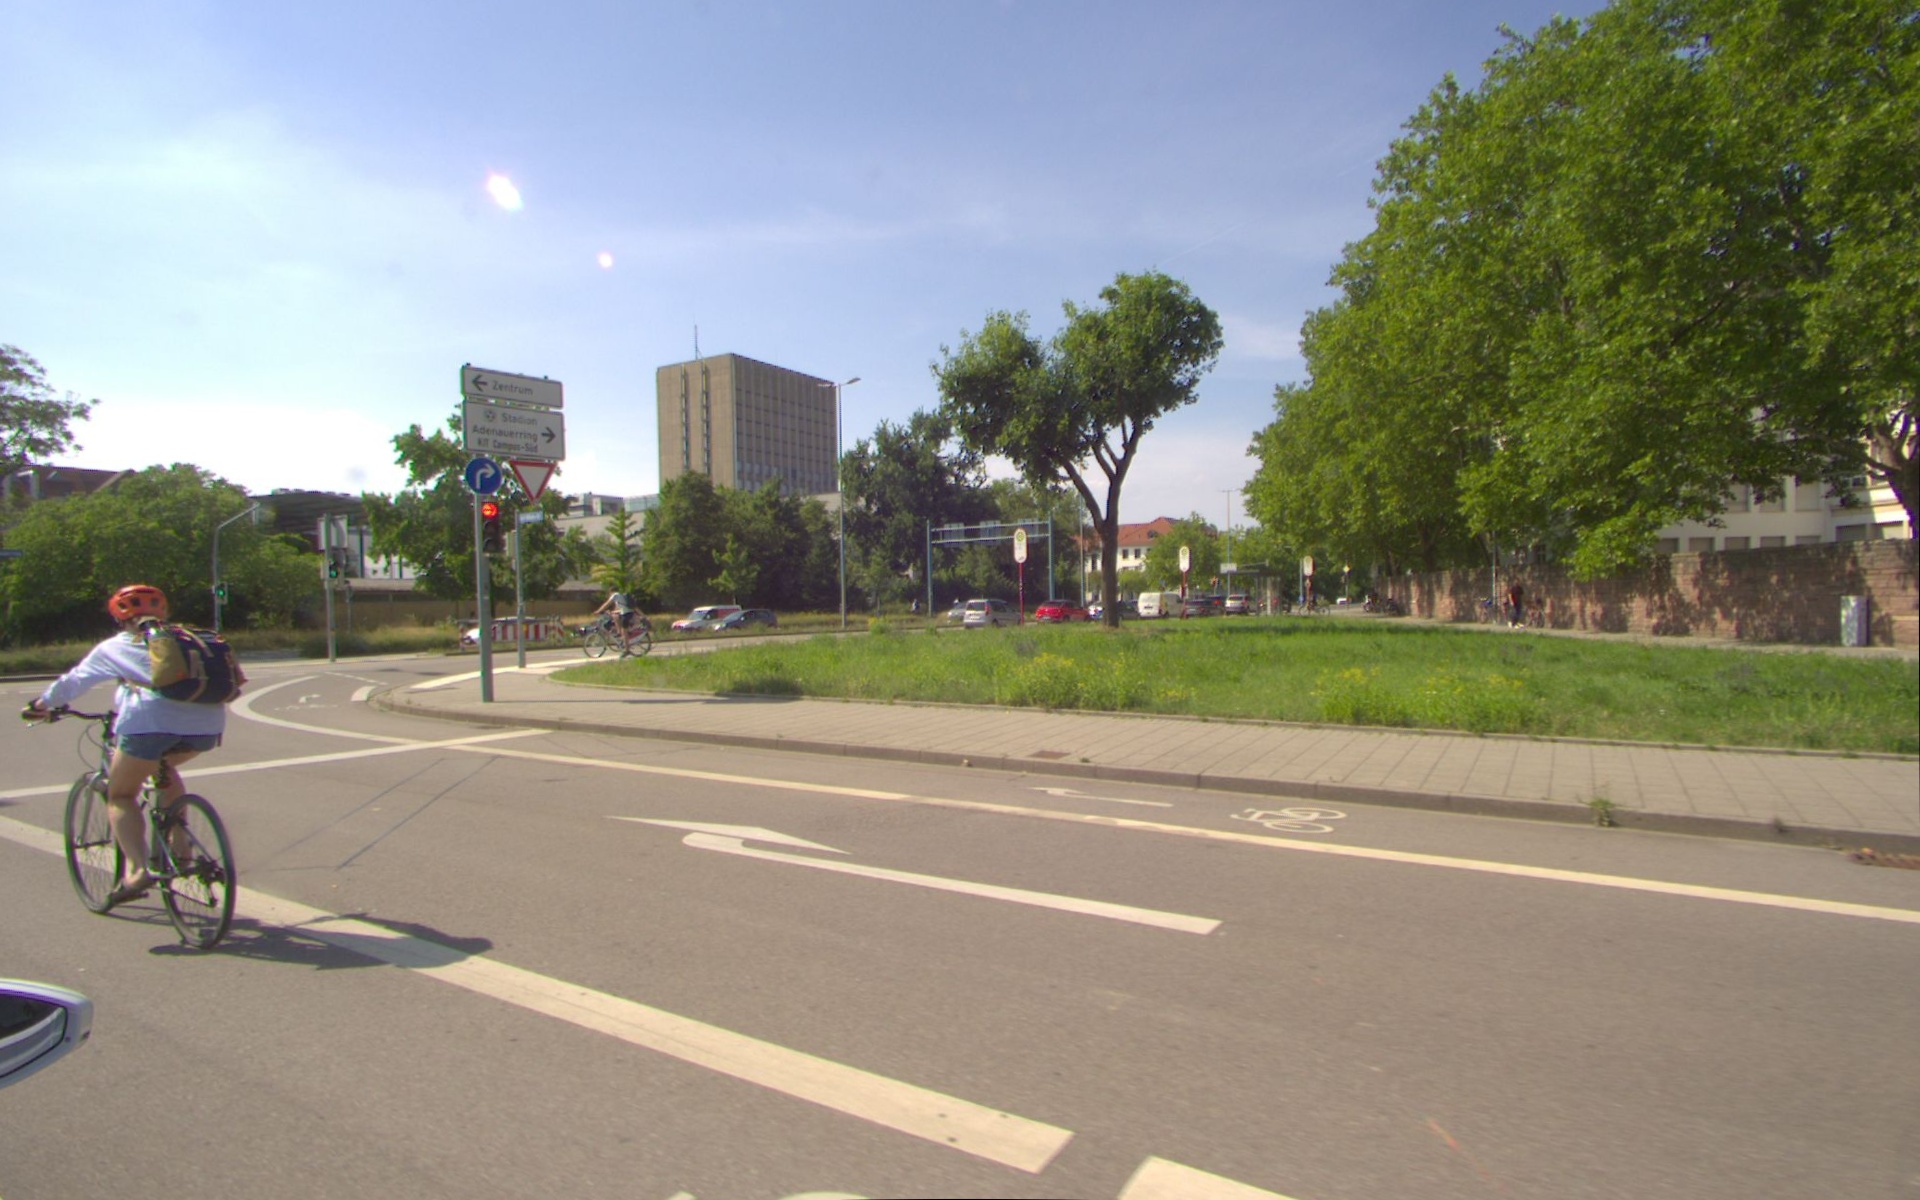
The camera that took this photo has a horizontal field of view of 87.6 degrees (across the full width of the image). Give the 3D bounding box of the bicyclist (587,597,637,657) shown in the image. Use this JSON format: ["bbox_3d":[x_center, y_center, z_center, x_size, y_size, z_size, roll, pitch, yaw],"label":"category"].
[{"bbox_3d":[-8.734,0.671,25.133,1.121,1.489,0.496,0,-1,-10],"label":"bicyclist"}]

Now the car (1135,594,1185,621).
[{"bbox_3d":[13.639,0.487,68.110,1.729,1.781,4.403,0,1,36],"label":"car"}]

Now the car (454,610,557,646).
[{"bbox_3d":[-21.219,1.291,46.896,1.972,1.483,3.978,-2,0,32],"label":"car"}]

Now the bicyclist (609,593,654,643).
[{"bbox_3d":[-10.097,0.551,30.809,0.558,1.494,1.158,0,2,44],"label":"bicyclist"}]

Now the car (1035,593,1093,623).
[{"bbox_3d":[5.922,0.468,56.689,1.727,1.527,3.981,0,-2,32],"label":"car"}]

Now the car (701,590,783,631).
[{"bbox_3d":[-11.717,0.563,54.008,1.976,2.040,3.971,-3,-1,37],"label":"car"}]

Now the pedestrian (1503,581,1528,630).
[{"bbox_3d":[20.271,0.193,36.534,0.608,1.763,0.599,-1,1,3],"label":"pedestrian"}]

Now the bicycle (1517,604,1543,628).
[{"bbox_3d":[20.961,0.580,36.835,0.365,0.867,1.307,-1,1,7],"label":"bicycle"}]

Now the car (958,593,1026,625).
[{"bbox_3d":[1.666,0.457,51.177,1.727,1.528,3.978,0,1,32],"label":"car"}]

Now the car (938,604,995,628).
[{"bbox_3d":[0.466,1.036,66.319,1.618,1.425,4.080,-3,-1,37],"label":"car"}]

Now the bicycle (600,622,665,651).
[{"bbox_3d":[-10.076,1.101,30.840,0.554,0.803,1.878,2,2,44],"label":"bicycle"}]

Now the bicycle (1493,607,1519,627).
[{"bbox_3d":[20.964,0.653,38.467,0.334,0.738,1.364,-1,1,5],"label":"bicycle"}]

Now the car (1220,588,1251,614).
[{"bbox_3d":[22.420,0.073,81.413,1.966,2.041,3.989,-1,1,21],"label":"car"}]

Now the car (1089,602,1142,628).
[{"bbox_3d":[9.774,0.911,62.736,1.729,1.494,3.973,0,1,36],"label":"car"}]

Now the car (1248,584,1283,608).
[{"bbox_3d":[27.108,-0.369,88.779,1.972,2.041,3.976,-1,1,34],"label":"car"}]

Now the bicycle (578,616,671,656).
[{"bbox_3d":[-8.444,0.905,25.247,2.128,0.928,0.674,-1,1,-11],"label":"bicycle"}]

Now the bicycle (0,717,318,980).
[{"bbox_3d":[-3.945,1.093,4.797,1.998,0.943,0.595,-2,-1,29],"label":"bicycle"}]

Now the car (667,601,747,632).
[{"bbox_3d":[-14.325,0.912,56.816,1.882,1.590,4.301,0,1,32],"label":"car"}]

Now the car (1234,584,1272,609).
[{"bbox_3d":[25.118,-0.318,85.772,1.972,2.041,3.976,-1,1,34],"label":"car"}]

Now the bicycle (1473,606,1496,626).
[{"bbox_3d":[21.018,0.630,40.138,0.334,0.738,1.364,-1,1,5],"label":"bicycle"}]

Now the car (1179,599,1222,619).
[{"bbox_3d":[17.792,0.634,74.025,1.729,1.357,3.973,0,1,36],"label":"car"}]

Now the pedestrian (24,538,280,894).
[{"bbox_3d":[-3.770,0.496,4.676,0.998,1.485,0.582,-1,0,28],"label":"pedestrian"}]

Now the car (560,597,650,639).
[{"bbox_3d":[-18.320,0.888,51.821,1.973,2.041,3.976,0,1,34],"label":"car"}]
